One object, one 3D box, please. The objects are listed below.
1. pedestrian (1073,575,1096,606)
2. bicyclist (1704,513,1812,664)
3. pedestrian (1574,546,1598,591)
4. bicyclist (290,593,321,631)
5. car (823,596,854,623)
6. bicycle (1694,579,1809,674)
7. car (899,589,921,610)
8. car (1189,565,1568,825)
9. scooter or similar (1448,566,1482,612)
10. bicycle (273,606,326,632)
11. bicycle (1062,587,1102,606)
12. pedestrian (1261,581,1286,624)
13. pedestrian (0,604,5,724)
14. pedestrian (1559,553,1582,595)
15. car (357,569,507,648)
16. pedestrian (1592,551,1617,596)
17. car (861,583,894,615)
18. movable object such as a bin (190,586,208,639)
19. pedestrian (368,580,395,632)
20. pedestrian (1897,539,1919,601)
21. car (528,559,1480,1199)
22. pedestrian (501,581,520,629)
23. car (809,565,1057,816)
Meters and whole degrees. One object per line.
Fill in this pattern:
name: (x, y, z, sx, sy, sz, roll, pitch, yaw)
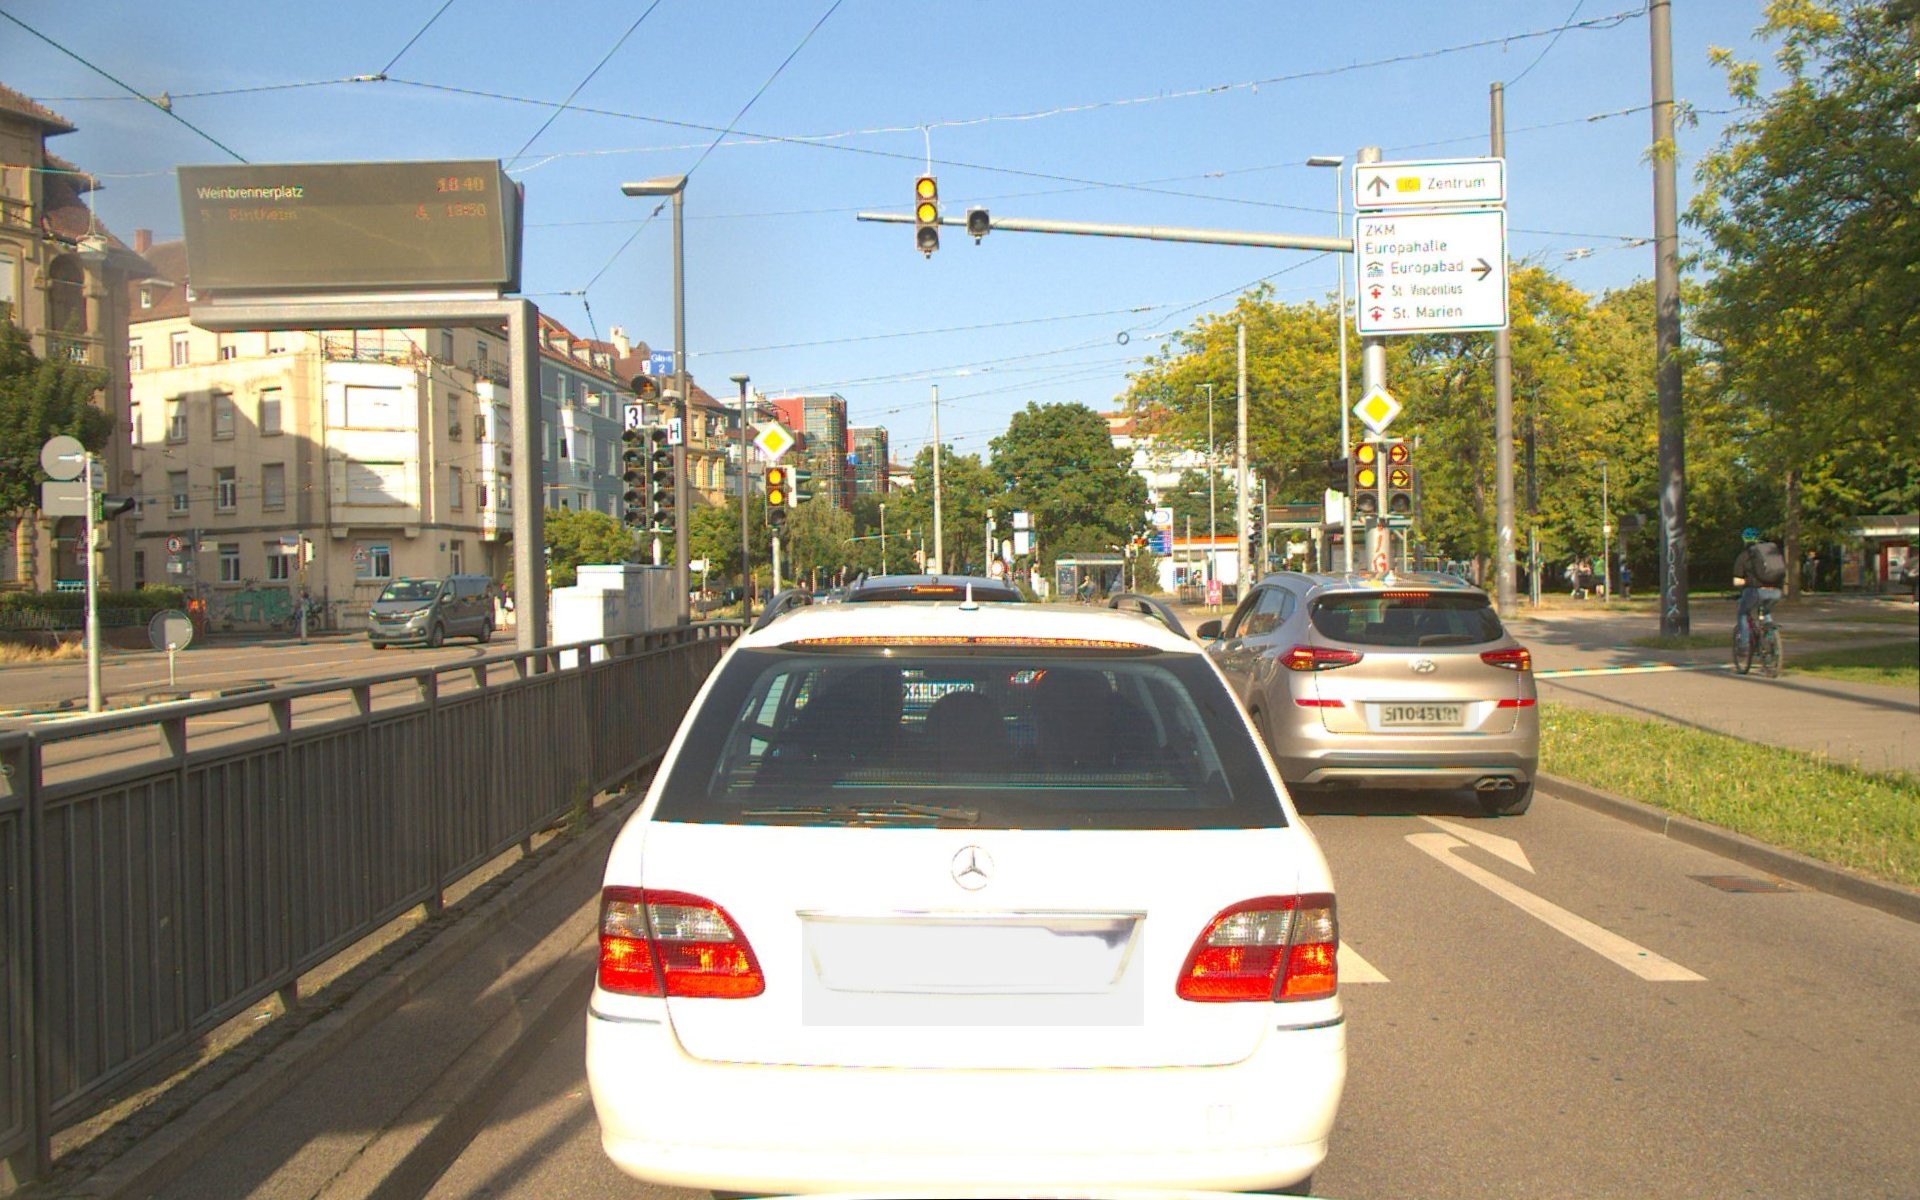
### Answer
pedestrian: (6.640, -0.531, 87.983, 0.985, 1.619, 0.866, -1, 0, 18)
bicyclist: (9.877, -0.144, 20.507, 0.705, 1.776, 1.140, -4, 0, 3)
pedestrian: (24.244, -1.216, 64.101, 0.628, 1.694, 0.690, -1, 0, -1)
bicyclist: (-27.712, 0.497, 70.023, 1.018, 1.597, 0.662, -1, 0, 6)
car: (-7.719, 0.605, 105.482, 1.642, 1.552, 4.125, -1, 2, 0)
bicycle: (9.931, 0.317, 20.813, 0.627, 1.107, 1.734, -4, 0, 3)
car: (-4.163, -0.079, 138.041, 1.731, 1.520, 4.744, -2, 2, -1)
car: (2.890, 0.583, 12.281, 1.798, 1.628, 3.814, 0, 0, -1)
scooter or similar: (13.931, -0.302, 45.658, 0.345, 1.253, 1.131, -1, 0, -15)
bicycle: (-27.978, 0.798, 70.068, 1.948, 1.024, 0.743, -1, 0, 6)
bicycle: (6.482, -0.189, 88.034, 1.975, 0.963, 0.880, -1, 0, 19)
pedestrian: (15.282, 0.122, 80.559, 0.976, 2.049, 0.827, -1, 0, 27)
pedestrian: (-13.197, 0.868, 21.975, 0.578, 1.617, 0.715, -1, 0, -5)
pedestrian: (23.961, -1.022, 64.944, 0.628, 1.638, 0.690, -1, 0, -1)
car: (-14.810, 0.208, 46.785, 2.100, 2.049, 5.390, -1, 0, 5)
pedestrian: (24.515, -1.017, 62.931, 0.628, 1.694, 0.690, -1, 0, -1)
car: (-6.070, -0.091, 122.360, 2.132, 2.278, 5.253, -1, 1, 0)
movable object such as a bin: (-25.713, 0.421, 55.879, 0.261, 1.739, 2.357, -2, 1, -31)
pedestrian: (-21.738, 0.225, 62.151, 0.644, 1.913, 0.627, -1, 0, 14)
pedestrian: (29.632, -0.926, 51.531, 0.453, 1.900, 0.602, 1, -1, -20)
car: (0.061, 0.675, 5.038, 1.798, 1.527, 3.814, 0, 0, -1)
pedestrian: (-18.218, 0.204, 66.995, 0.573, 1.913, 0.626, -1, 2, -3)
car: (-0.201, 0.574, 12.657, 1.608, 1.628, 3.814, 0, 0, -1)
